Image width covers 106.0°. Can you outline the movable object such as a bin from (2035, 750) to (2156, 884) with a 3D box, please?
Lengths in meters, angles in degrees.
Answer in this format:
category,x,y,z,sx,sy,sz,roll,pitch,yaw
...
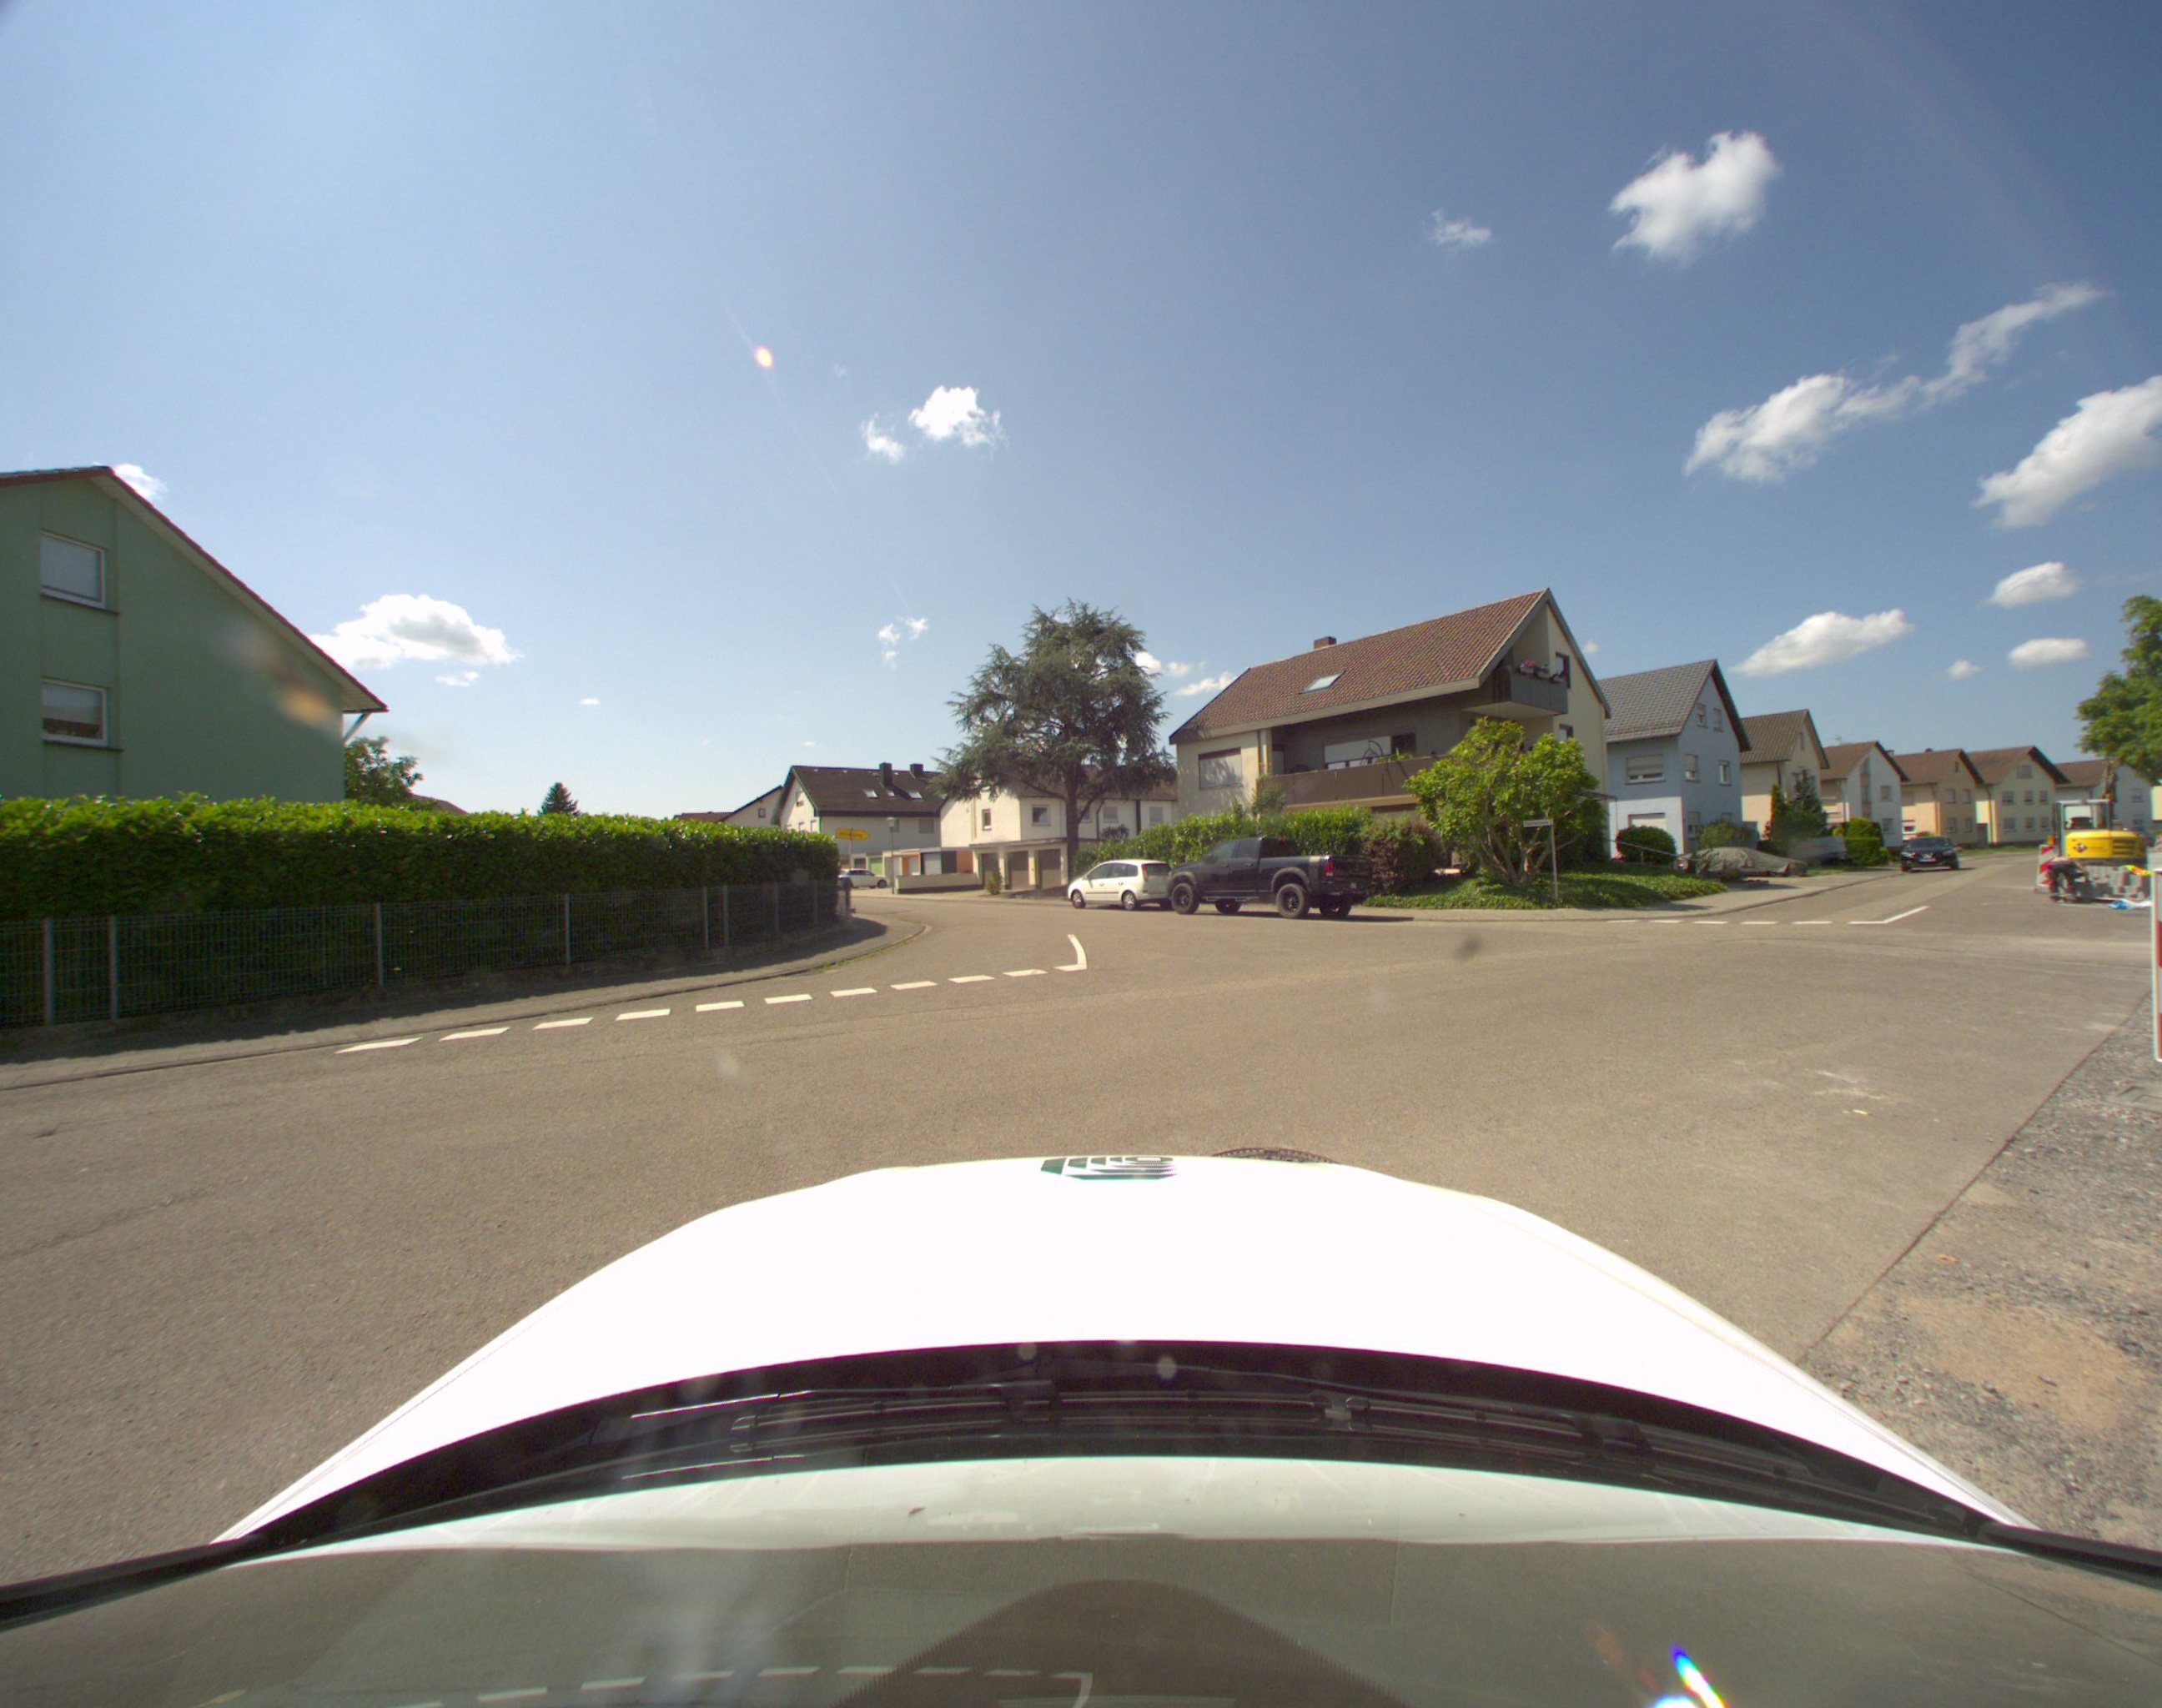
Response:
category,x,y,z,sx,sy,sz,roll,pitch,yaw
movable object such as a bin,29.455,-1.009,23.647,3.833,3.565,1.977,-1,-1,-38

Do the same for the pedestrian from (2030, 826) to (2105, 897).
category,x,y,z,sx,sy,sz,roll,pitch,yaw
pedestrian,21.756,0.162,17.978,0.843,1.514,0.534,-3,-1,10

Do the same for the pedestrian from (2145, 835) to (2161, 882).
category,x,y,z,sx,sy,sz,roll,pitch,yaw
pedestrian,27.081,0.100,20.093,0.817,1.168,0.513,-3,-1,10

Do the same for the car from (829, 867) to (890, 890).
category,x,y,z,sx,sy,sz,roll,pitch,yaw
car,-15.183,1.640,55.866,3.628,1.408,1.764,-2,-1,-38

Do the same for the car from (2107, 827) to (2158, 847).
category,x,y,z,sx,sy,sz,roll,pitch,yaw
car,95.815,-1.584,74.218,4.006,1.650,1.983,-2,-1,-25

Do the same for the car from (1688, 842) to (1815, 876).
category,x,y,z,sx,sy,sz,roll,pitch,yaw
car,29.278,0.256,35.648,2.010,1.342,3.953,-1,-1,-39

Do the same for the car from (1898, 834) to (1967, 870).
category,x,y,z,sx,sy,sz,roll,pitch,yaw
car,39.748,-0.104,37.982,4.020,1.542,1.898,-2,-1,-40

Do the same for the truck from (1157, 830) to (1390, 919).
category,x,y,z,sx,sy,sz,roll,pitch,yaw
truck,4.868,0.581,21.436,2.383,2.014,5.644,1,-3,-41

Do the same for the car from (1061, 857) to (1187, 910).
category,x,y,z,sx,sy,sz,roll,pitch,yaw
car,1.326,0.958,26.759,1.813,1.563,4.094,-1,-1,-40
